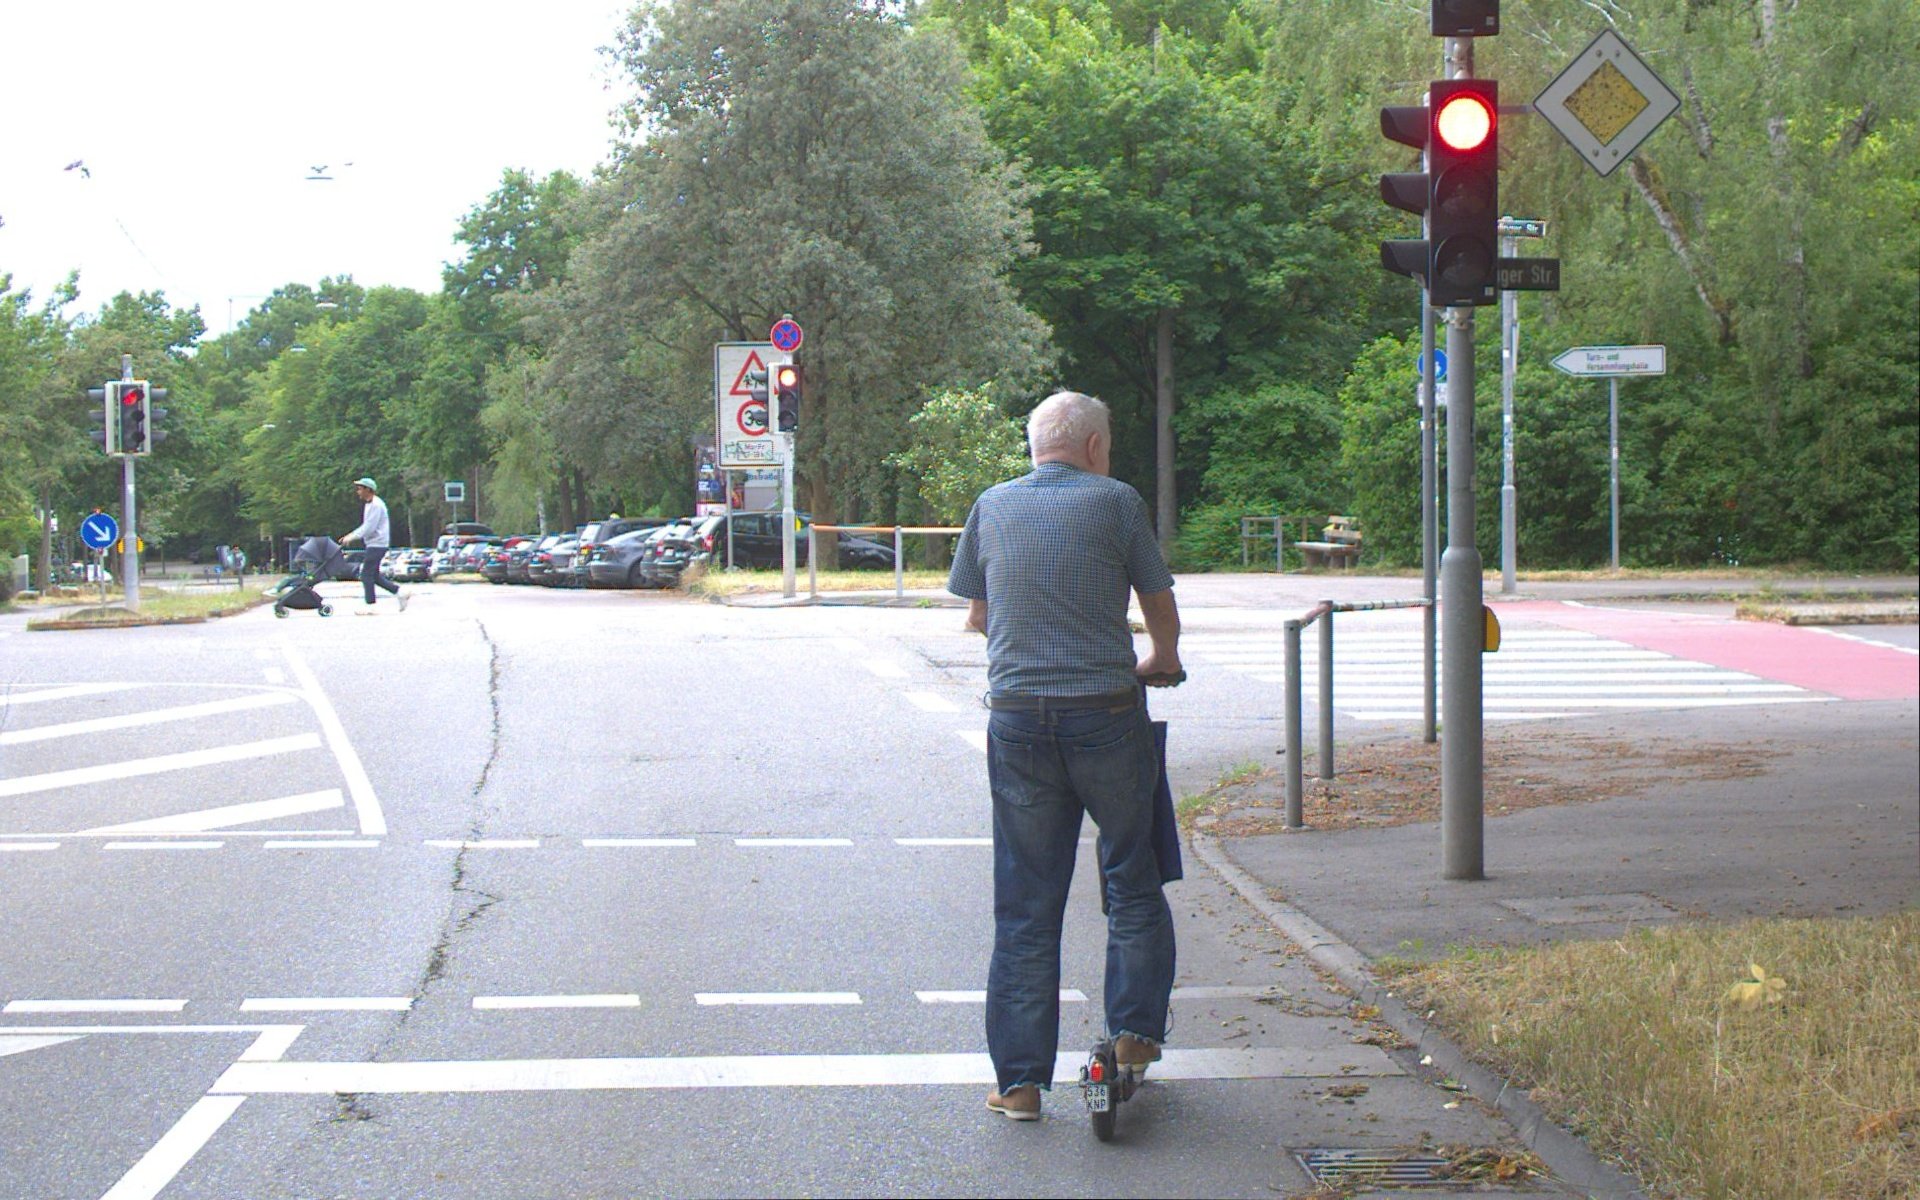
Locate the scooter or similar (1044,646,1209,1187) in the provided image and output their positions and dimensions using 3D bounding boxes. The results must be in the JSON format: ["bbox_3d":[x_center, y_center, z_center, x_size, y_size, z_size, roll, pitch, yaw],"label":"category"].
[{"bbox_3d":[0.419,0.725,8.356,0.282,1.174,1.177,-1,1,7],"label":"scooter or similar"}]

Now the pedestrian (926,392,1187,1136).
[{"bbox_3d":[0.248,0.399,8.580,0.573,1.807,0.420,-1,1,8],"label":"pedestrian"}]

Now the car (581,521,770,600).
[{"bbox_3d":[-6.442,-0.905,77.869,3.841,1.605,1.728,-3,2,-24],"label":"car"}]

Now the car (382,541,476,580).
[{"bbox_3d":[-23.951,-1.775,155.117,3.841,1.605,1.729,-3,2,-23],"label":"car"}]

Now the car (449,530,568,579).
[{"bbox_3d":[-16.161,-1.645,122.965,3.841,1.605,1.729,-3,2,-23],"label":"car"}]

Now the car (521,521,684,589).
[{"bbox_3d":[-9.379,-1.190,90.159,3.841,1.605,1.729,-3,2,-23],"label":"car"}]

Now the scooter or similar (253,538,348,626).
[{"bbox_3d":[-8.301,-0.231,43.292,1.107,1.077,0.578,-1,1,-7],"label":"scooter or similar"}]

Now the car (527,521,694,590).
[{"bbox_3d":[-8.930,-1.149,87.748,3.841,1.605,1.729,-3,2,-23],"label":"car"}]

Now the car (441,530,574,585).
[{"bbox_3d":[-14.466,-1.357,110.004,3.841,1.605,1.729,-3,2,-23],"label":"car"}]

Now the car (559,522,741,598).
[{"bbox_3d":[-7.253,-0.951,80.407,3.841,1.605,1.729,-3,2,-23],"label":"car"}]

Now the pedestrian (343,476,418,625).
[{"bbox_3d":[-7.320,-0.631,43.422,0.884,1.856,0.574,-1,1,-9],"label":"pedestrian"}]
